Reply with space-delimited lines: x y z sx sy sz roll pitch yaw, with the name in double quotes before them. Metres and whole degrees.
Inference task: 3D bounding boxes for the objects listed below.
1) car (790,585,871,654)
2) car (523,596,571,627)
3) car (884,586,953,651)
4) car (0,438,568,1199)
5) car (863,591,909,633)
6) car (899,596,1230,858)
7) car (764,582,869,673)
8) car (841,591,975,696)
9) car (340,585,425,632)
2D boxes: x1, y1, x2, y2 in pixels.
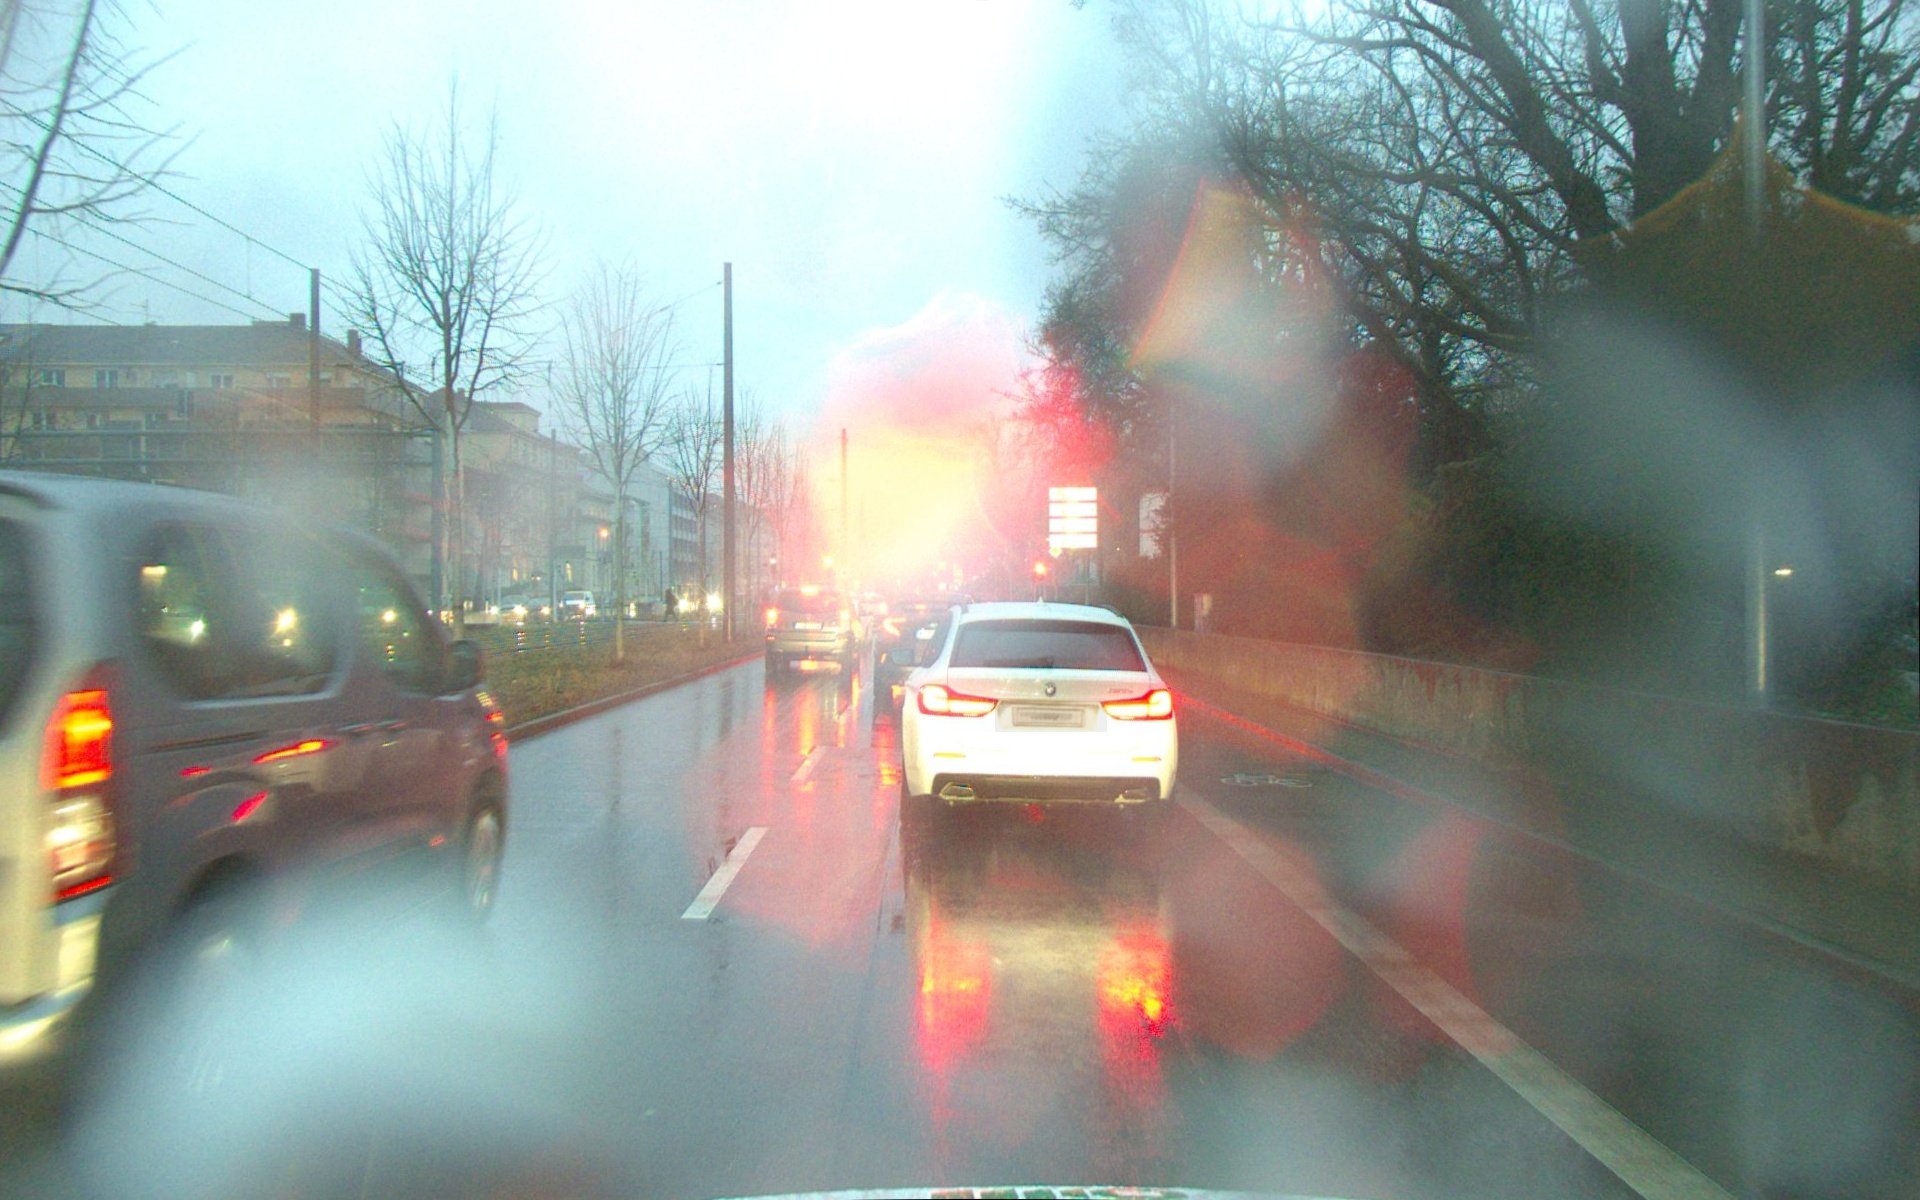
"car" -3.516 0.516 45.563 1.953 1.785 3.999 1 0 -1
"car" -24.030 0.630 96.410 1.858 1.749 4.912 0 0 -4
"car" -1.103 0.468 45.045 1.770 1.674 4.000 1 0 -1
"car" -2.848 0.507 5.991 1.757 1.766 4.537 1 0 0
"car" -3.081 0.487 69.290 1.770 1.674 4.000 1 0 -1
"car" 0.603 0.754 11.949 1.958 1.534 4.163 1 0 -1
"car" -2.813 0.507 33.148 1.770 1.674 4.000 1 0 -1
"car" -0.760 0.610 25.645 1.896 1.483 4.163 1 0 -1
"car" -22.596 0.310 64.861 1.858 1.749 5.113 0 0 -4
